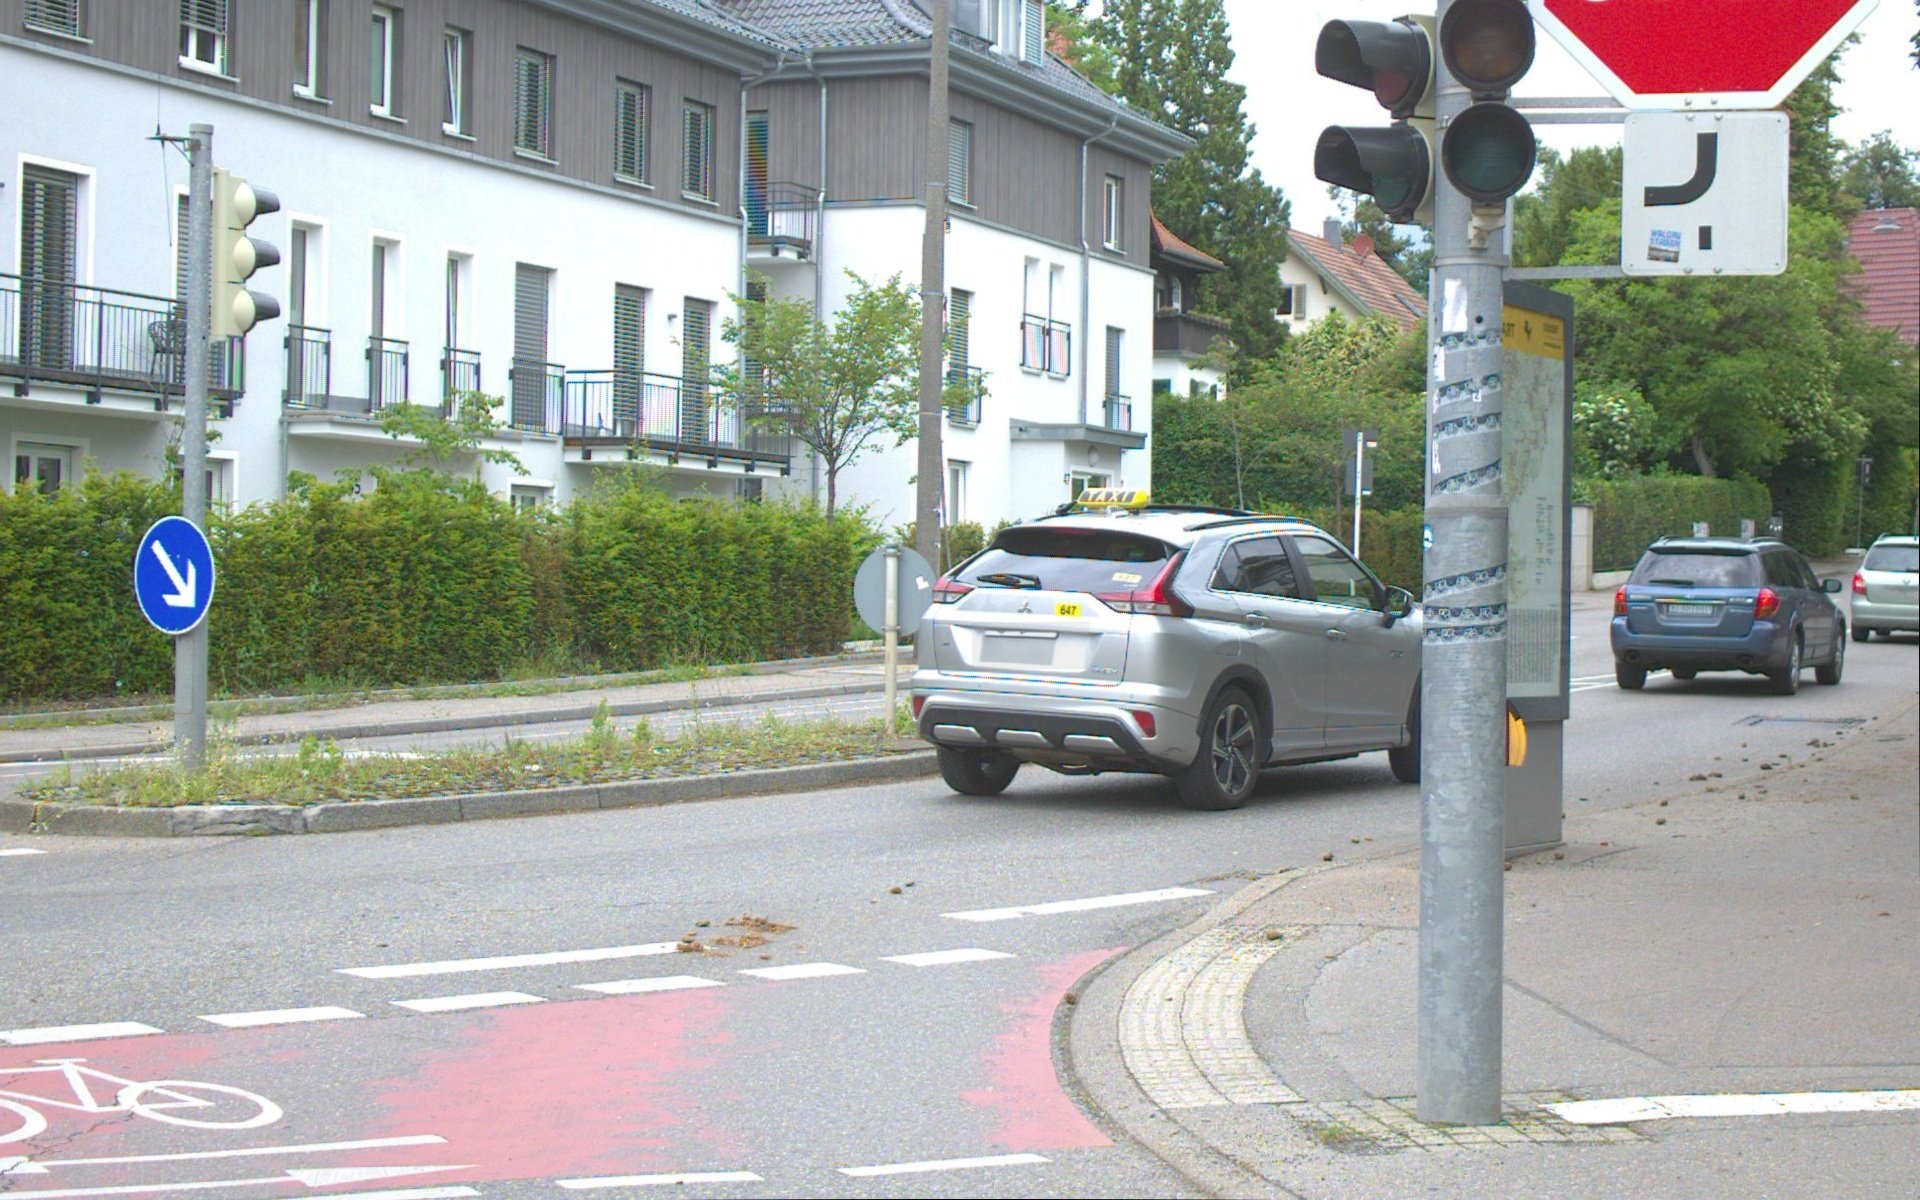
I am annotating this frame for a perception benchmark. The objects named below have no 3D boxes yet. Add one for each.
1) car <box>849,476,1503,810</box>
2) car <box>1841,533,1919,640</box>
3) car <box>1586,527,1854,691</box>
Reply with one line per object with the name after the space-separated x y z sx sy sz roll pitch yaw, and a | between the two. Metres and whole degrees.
1.407 0.180 20.306 1.811 1.747 4.478 0 1 34 | car
13.327 -0.218 47.843 1.695 1.425 3.745 0 1 20 | car
7.712 0.041 34.550 1.802 1.522 4.737 0 1 23 | car
